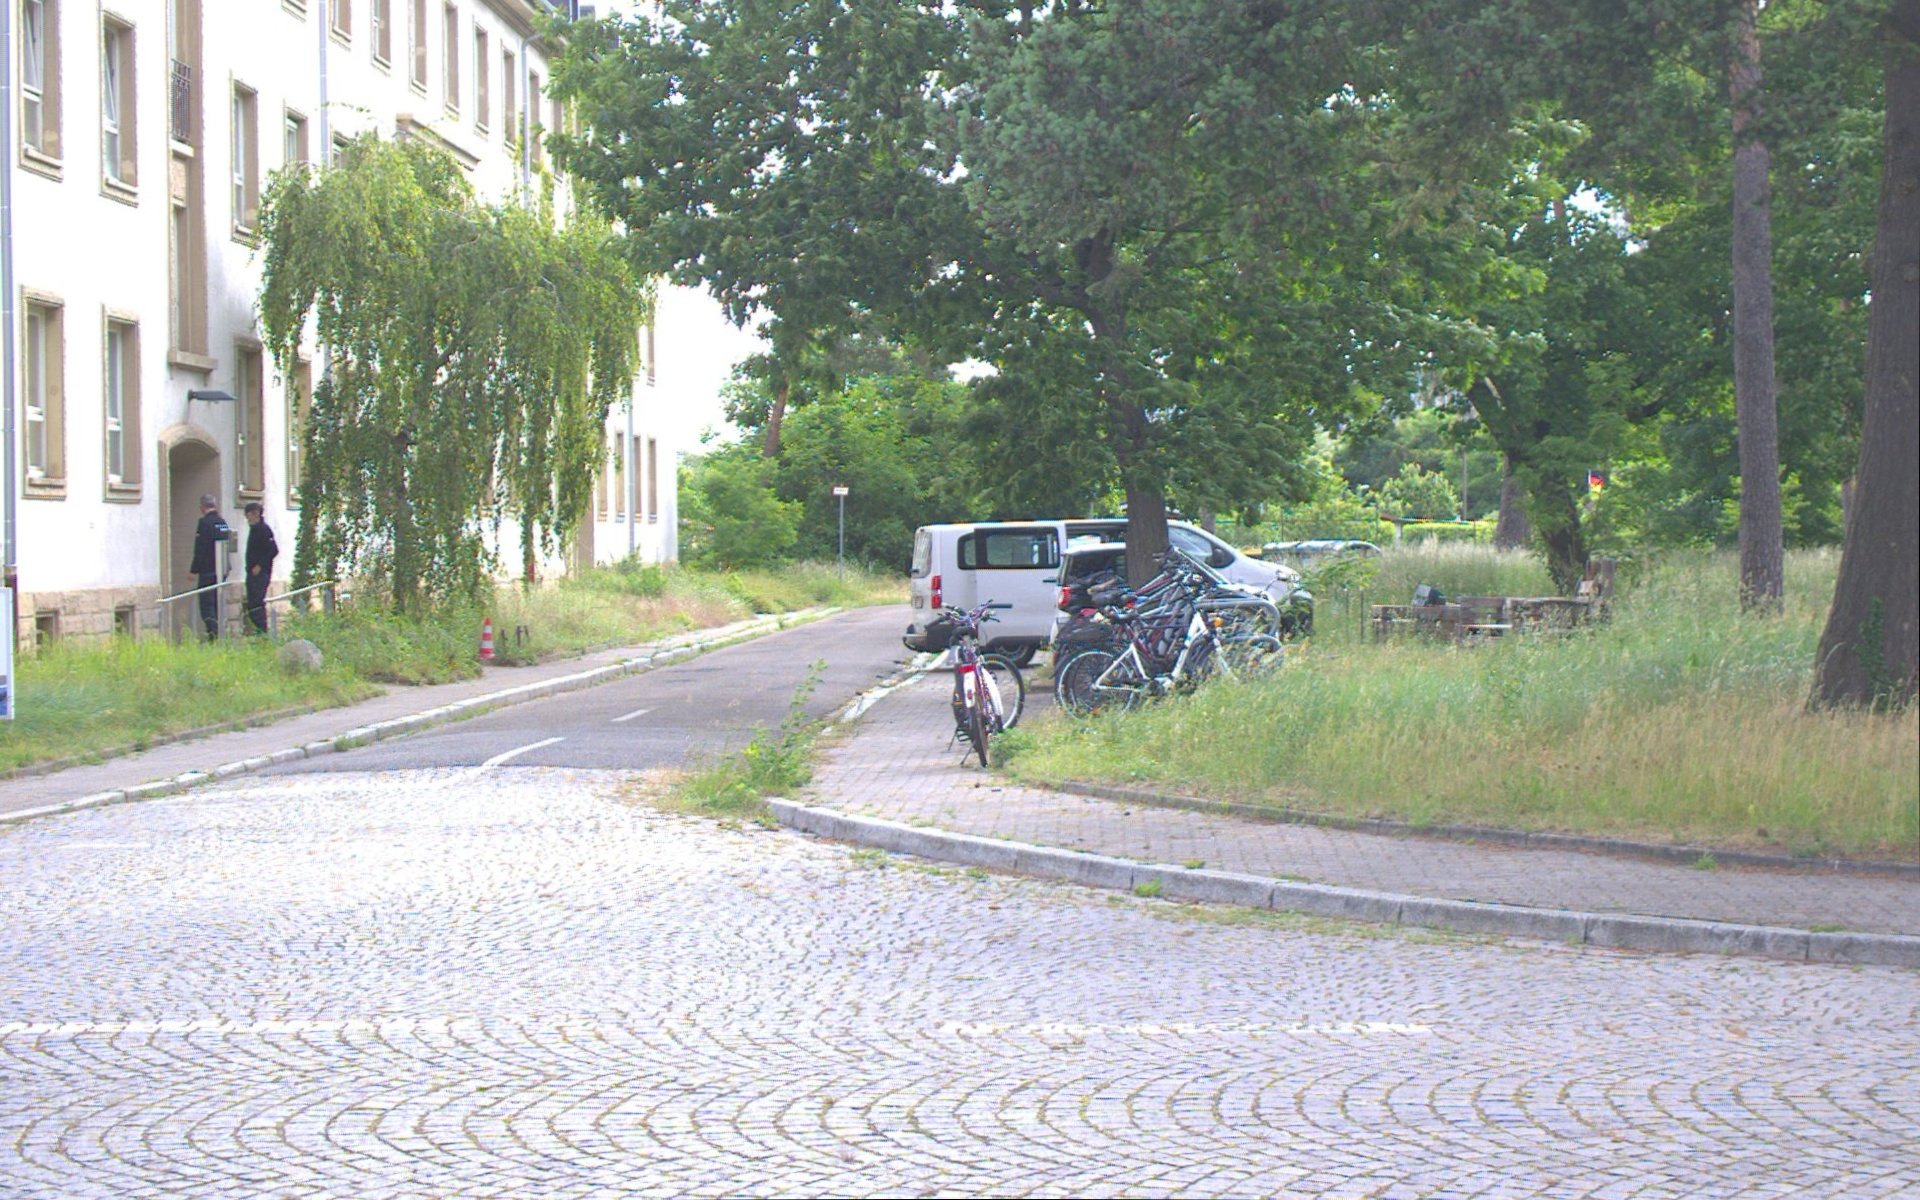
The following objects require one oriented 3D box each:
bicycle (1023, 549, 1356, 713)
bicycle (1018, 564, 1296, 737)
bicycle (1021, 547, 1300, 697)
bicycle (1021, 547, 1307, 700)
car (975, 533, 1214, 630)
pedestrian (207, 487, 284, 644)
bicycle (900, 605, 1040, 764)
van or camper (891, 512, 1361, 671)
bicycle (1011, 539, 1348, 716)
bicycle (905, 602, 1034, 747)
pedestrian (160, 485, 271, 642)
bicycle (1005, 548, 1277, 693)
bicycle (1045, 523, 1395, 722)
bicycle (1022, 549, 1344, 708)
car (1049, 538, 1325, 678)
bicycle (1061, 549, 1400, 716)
[{"bbox_3d":[1.959,0.253,29.632,2.802,1.367,0.950,0,1,2],"label":"bicycle"},{"bbox_3d":[1.516,0.385,26.704,2.113,1.302,0.874,0,1,2],"label":"bicycle"},{"bbox_3d":[1.865,0.198,32.335,2.568,1.367,0.950,0,1,1],"label":"bicycle"},{"bbox_3d":[1.849,0.206,31.495,2.568,1.367,0.950,0,1,1],"label":"bicycle"},{"bbox_3d":[2.271,-0.325,58.641,3.987,1.594,1.704,-1,1,0],"label":"car"},{"bbox_3d":[-8.949,-0.433,43.061,0.865,1.925,0.837,1,0,-9],"label":"pedestrian"},{"bbox_3d":[0.088,0.551,23.389,0.900,0.993,1.979,0,1,1],"label":"bicycle"},{"bbox_3d":[2.124,-0.135,44.814,5.740,1.950,2.238,-1,1,-10],"label":"van or camper"},{"bbox_3d":[1.727,0.206,27.304,2.619,1.362,0.874,0,1,2],"label":"bicycle"},{"bbox_3d":[0.087,0.533,25.483,0.727,0.993,1.978,0,1,7],"label":"bicycle"},{"bbox_3d":[-9.083,-0.441,41.985,1.194,1.863,1.550,1,0,-8],"label":"pedestrian"},{"bbox_3d":[1.731,0.188,33.180,2.568,1.367,0.950,0,1,1],"label":"bicycle"},{"bbox_3d":[2.104,0.174,28.158,2.802,1.578,0.950,0,1,2],"label":"bicycle"},{"bbox_3d":[1.961,0.245,30.526,2.802,1.367,0.950,0,1,2],"label":"bicycle"},{"bbox_3d":[2.699,0.081,41.538,3.225,1.615,1.938,1,0,1],"label":"car"},{"bbox_3d":[2.267,0.262,29.083,2.802,1.367,0.950,0,1,2],"label":"bicycle"}]
